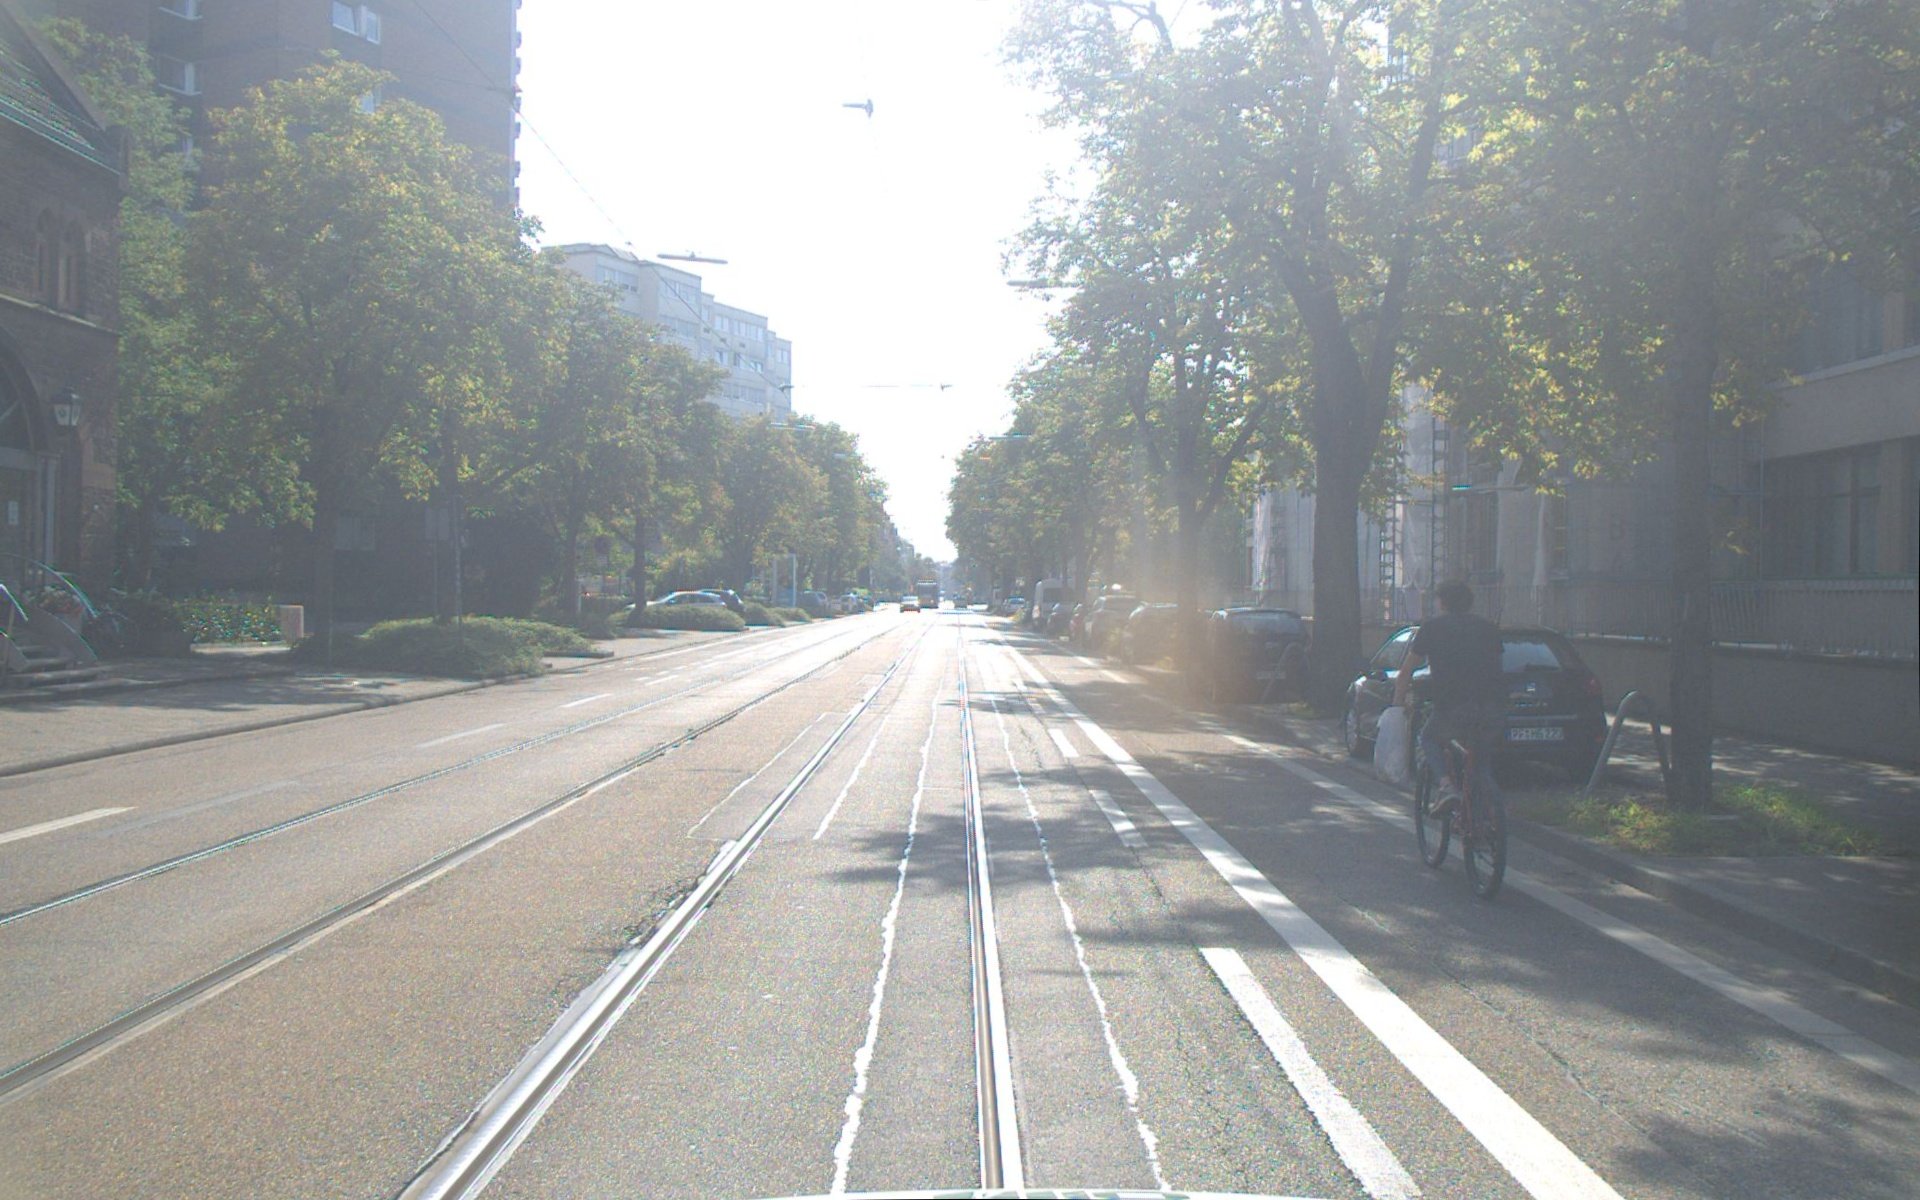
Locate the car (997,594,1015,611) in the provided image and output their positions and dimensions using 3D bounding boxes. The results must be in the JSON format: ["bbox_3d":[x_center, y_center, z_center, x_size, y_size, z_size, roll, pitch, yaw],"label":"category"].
[{"bbox_3d":[4.116,0.231,148.509,1.562,1.443,3.634,1,0,1],"label":"car"}]

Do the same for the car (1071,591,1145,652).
[{"bbox_3d":[4.533,0.624,51.115,1.718,1.721,4.395,1,1,-2],"label":"car"}]

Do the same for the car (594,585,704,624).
[{"bbox_3d":[-12.295,0.177,65.423,3.944,1.505,1.771,0,0,-30],"label":"car"}]

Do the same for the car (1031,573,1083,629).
[{"bbox_3d":[4.769,0.040,82.345,2.040,2.597,5.500,-3,0,-1],"label":"car"}]

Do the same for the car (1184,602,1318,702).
[{"bbox_3d":[4.857,0.823,28.028,1.612,1.537,3.778,-1,0,0],"label":"car"}]

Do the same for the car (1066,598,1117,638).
[{"bbox_3d":[4.888,0.651,61.801,1.583,1.438,4.000,0,0,0],"label":"car"}]

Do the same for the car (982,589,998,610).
[{"bbox_3d":[3.697,-0.018,203.341,1.963,2.518,4.477,0,0,1],"label":"car"}]

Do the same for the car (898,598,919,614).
[{"bbox_3d":[-4.556,0.538,147.618,1.791,1.400,4.512,1,0,-1],"label":"car"}]

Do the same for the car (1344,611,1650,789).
[{"bbox_3d":[5.105,0.873,16.301,1.612,1.453,4.084,-1,0,-1],"label":"car"}]

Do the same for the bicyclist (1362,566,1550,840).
[{"bbox_3d":[2.860,0.564,9.644,0.770,1.495,1.116,1,0,2],"label":"bicyclist"}]

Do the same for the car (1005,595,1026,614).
[{"bbox_3d":[4.508,0.354,134.949,1.655,1.443,3.634,1,0,1],"label":"car"}]

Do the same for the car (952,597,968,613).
[{"bbox_3d":[-0.010,0.607,205.903,1.952,1.870,4.001,1,0,1],"label":"car"}]

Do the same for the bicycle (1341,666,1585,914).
[{"bbox_3d":[2.849,1.021,9.651,0.770,1.164,2.305,1,0,2],"label":"bicycle"}]

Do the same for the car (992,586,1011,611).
[{"bbox_3d":[4.439,-0.162,176.715,1.963,2.534,4.477,1,-1,1],"label":"car"}]

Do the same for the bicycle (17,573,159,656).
[{"bbox_3d":[-13.274,0.226,25.223,1.778,1.093,0.418,6,-2,-23],"label":"bicycle"}]

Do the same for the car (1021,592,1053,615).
[{"bbox_3d":[4.670,0.200,101.193,1.717,1.402,4.719,-1,0,0],"label":"car"}]

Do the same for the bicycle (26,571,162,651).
[{"bbox_3d":[-13.631,0.175,26.082,1.778,1.093,0.418,6,-2,-23],"label":"bicycle"}]

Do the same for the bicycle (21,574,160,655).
[{"bbox_3d":[-13.466,0.222,25.650,1.778,1.093,0.418,6,-2,-23],"label":"bicycle"}]

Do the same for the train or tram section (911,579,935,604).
[{"bbox_3d":[-4.523,-1.057,204.564,2.673,2.945,15.454,1,0,0],"label":"train or tram section"}]

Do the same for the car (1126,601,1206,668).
[{"bbox_3d":[5.036,0.806,40.809,1.543,1.510,3.738,-1,1,0],"label":"car"}]

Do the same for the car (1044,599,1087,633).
[{"bbox_3d":[4.562,0.682,72.054,1.583,1.398,4.827,0,0,1],"label":"car"}]
